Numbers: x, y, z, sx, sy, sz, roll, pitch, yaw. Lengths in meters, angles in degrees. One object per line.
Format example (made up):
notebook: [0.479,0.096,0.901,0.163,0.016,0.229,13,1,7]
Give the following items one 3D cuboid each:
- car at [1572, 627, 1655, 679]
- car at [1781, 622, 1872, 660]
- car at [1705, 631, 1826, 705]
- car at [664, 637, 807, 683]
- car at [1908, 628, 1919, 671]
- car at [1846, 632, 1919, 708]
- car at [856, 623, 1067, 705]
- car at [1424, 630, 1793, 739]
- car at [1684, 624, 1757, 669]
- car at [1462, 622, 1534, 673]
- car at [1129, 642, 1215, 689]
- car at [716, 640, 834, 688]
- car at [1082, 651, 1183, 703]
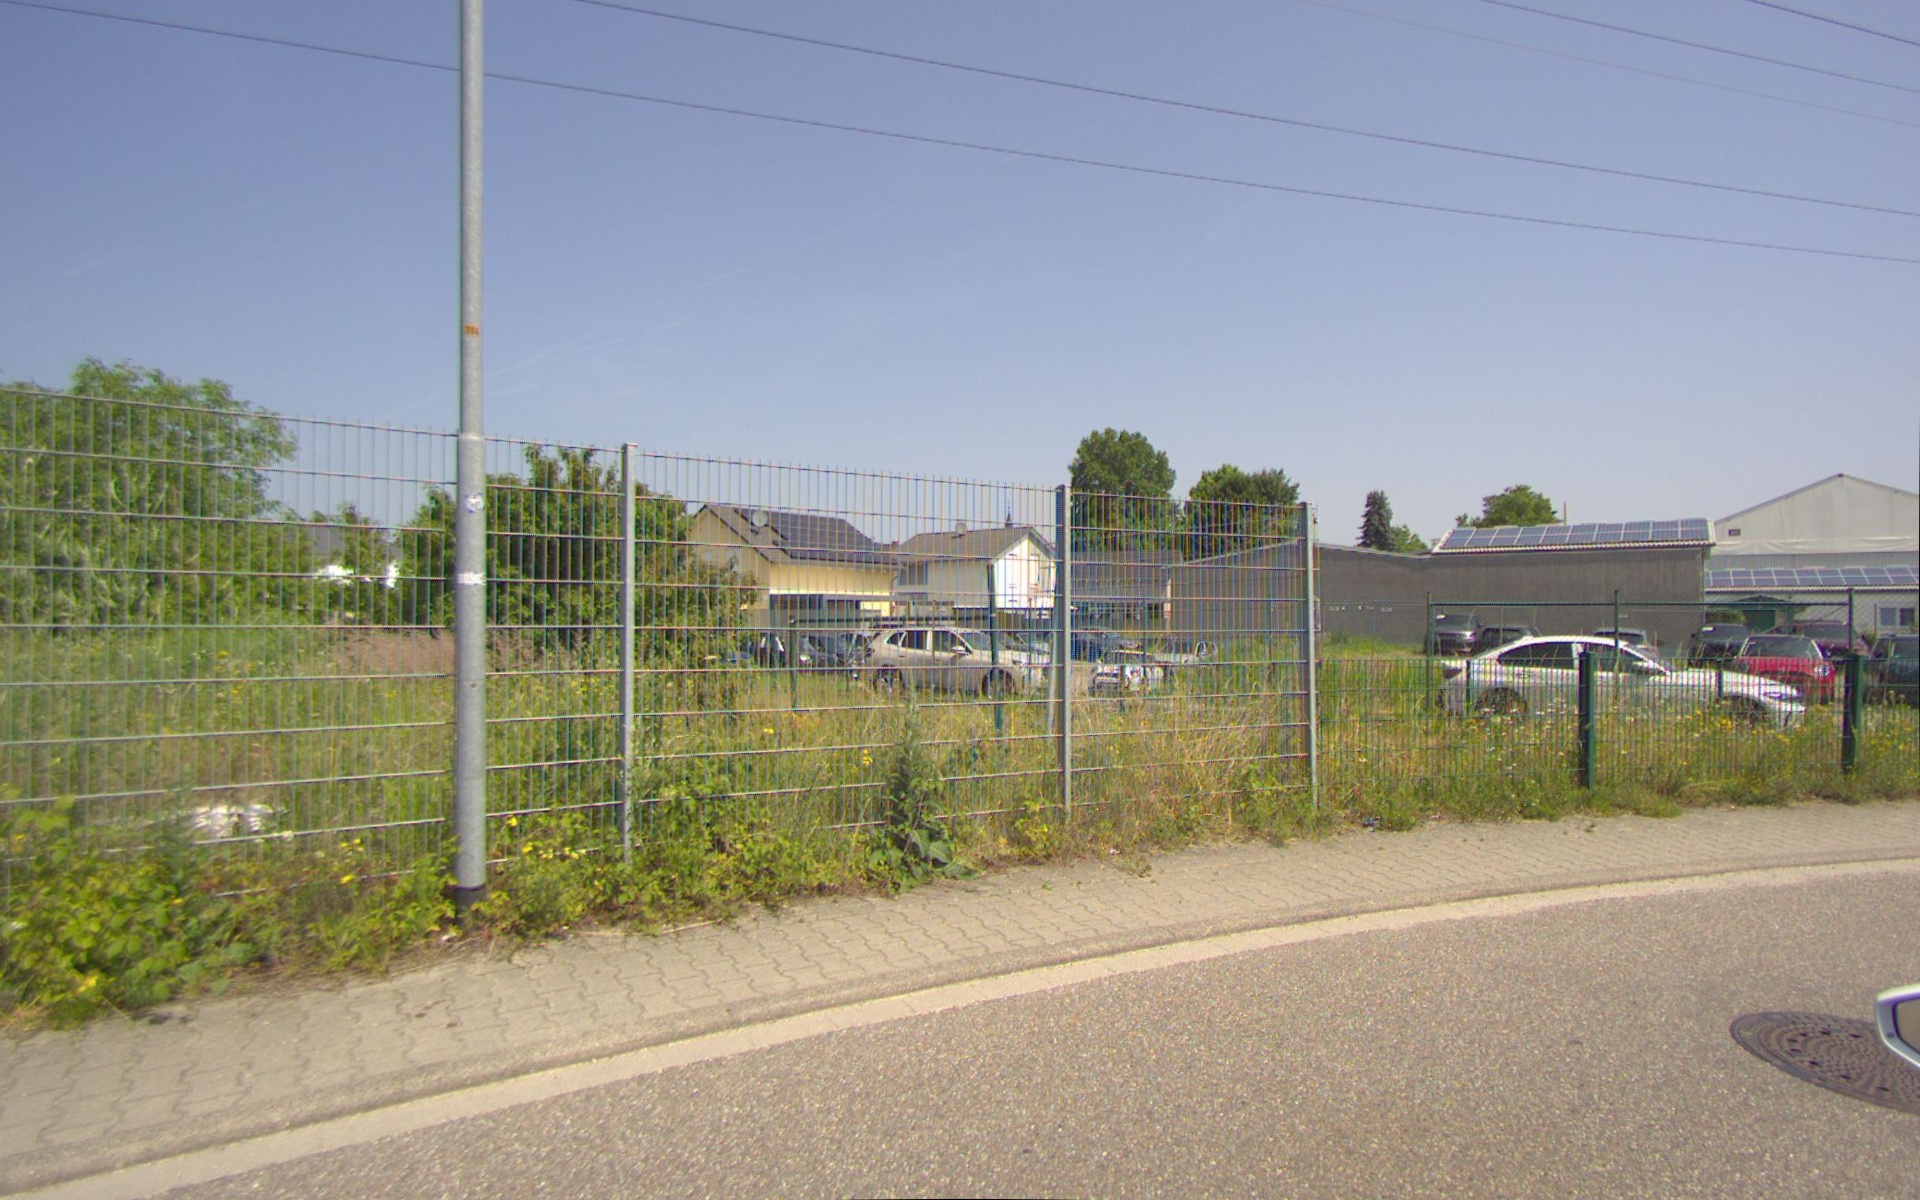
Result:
car: [18.284,1.424,28.164,1.836,1.316,3.432,0,-1,33]
car: [29.413,1.357,34.237,1.837,1.191,4.590,0,-1,34]
car: [17.957,1.451,22.541,1.837,1.473,3.430,0,-1,34]
car: [-6.491,1.680,28.922,3.939,1.122,1.861,0,-1,36]
car: [32.520,1.646,32.482,1.968,1.454,4.651,0,-1,34]
car: [20.088,1.433,21.047,1.837,1.452,3.638,0,-1,34]
car: [-0.019,1.350,22.468,4.365,1.583,2.035,0,-1,36]
car: [9.679,1.176,15.295,4.488,1.324,1.862,0,-1,36]
car: [26.927,1.609,35.671,1.837,1.452,4.590,0,-1,34]
car: [16.539,1.407,30.971,1.834,1.433,3.436,0,-1,27]
car: [8.479,2.561,39.990,1.967,1.639,3.987,0,-1,35]
car: [-5.607,1.895,30.293,3.570,1.263,1.482,0,-1,36]
car: [5.186,2.254,29.940,1.632,1.332,3.379,0,-1,36]
